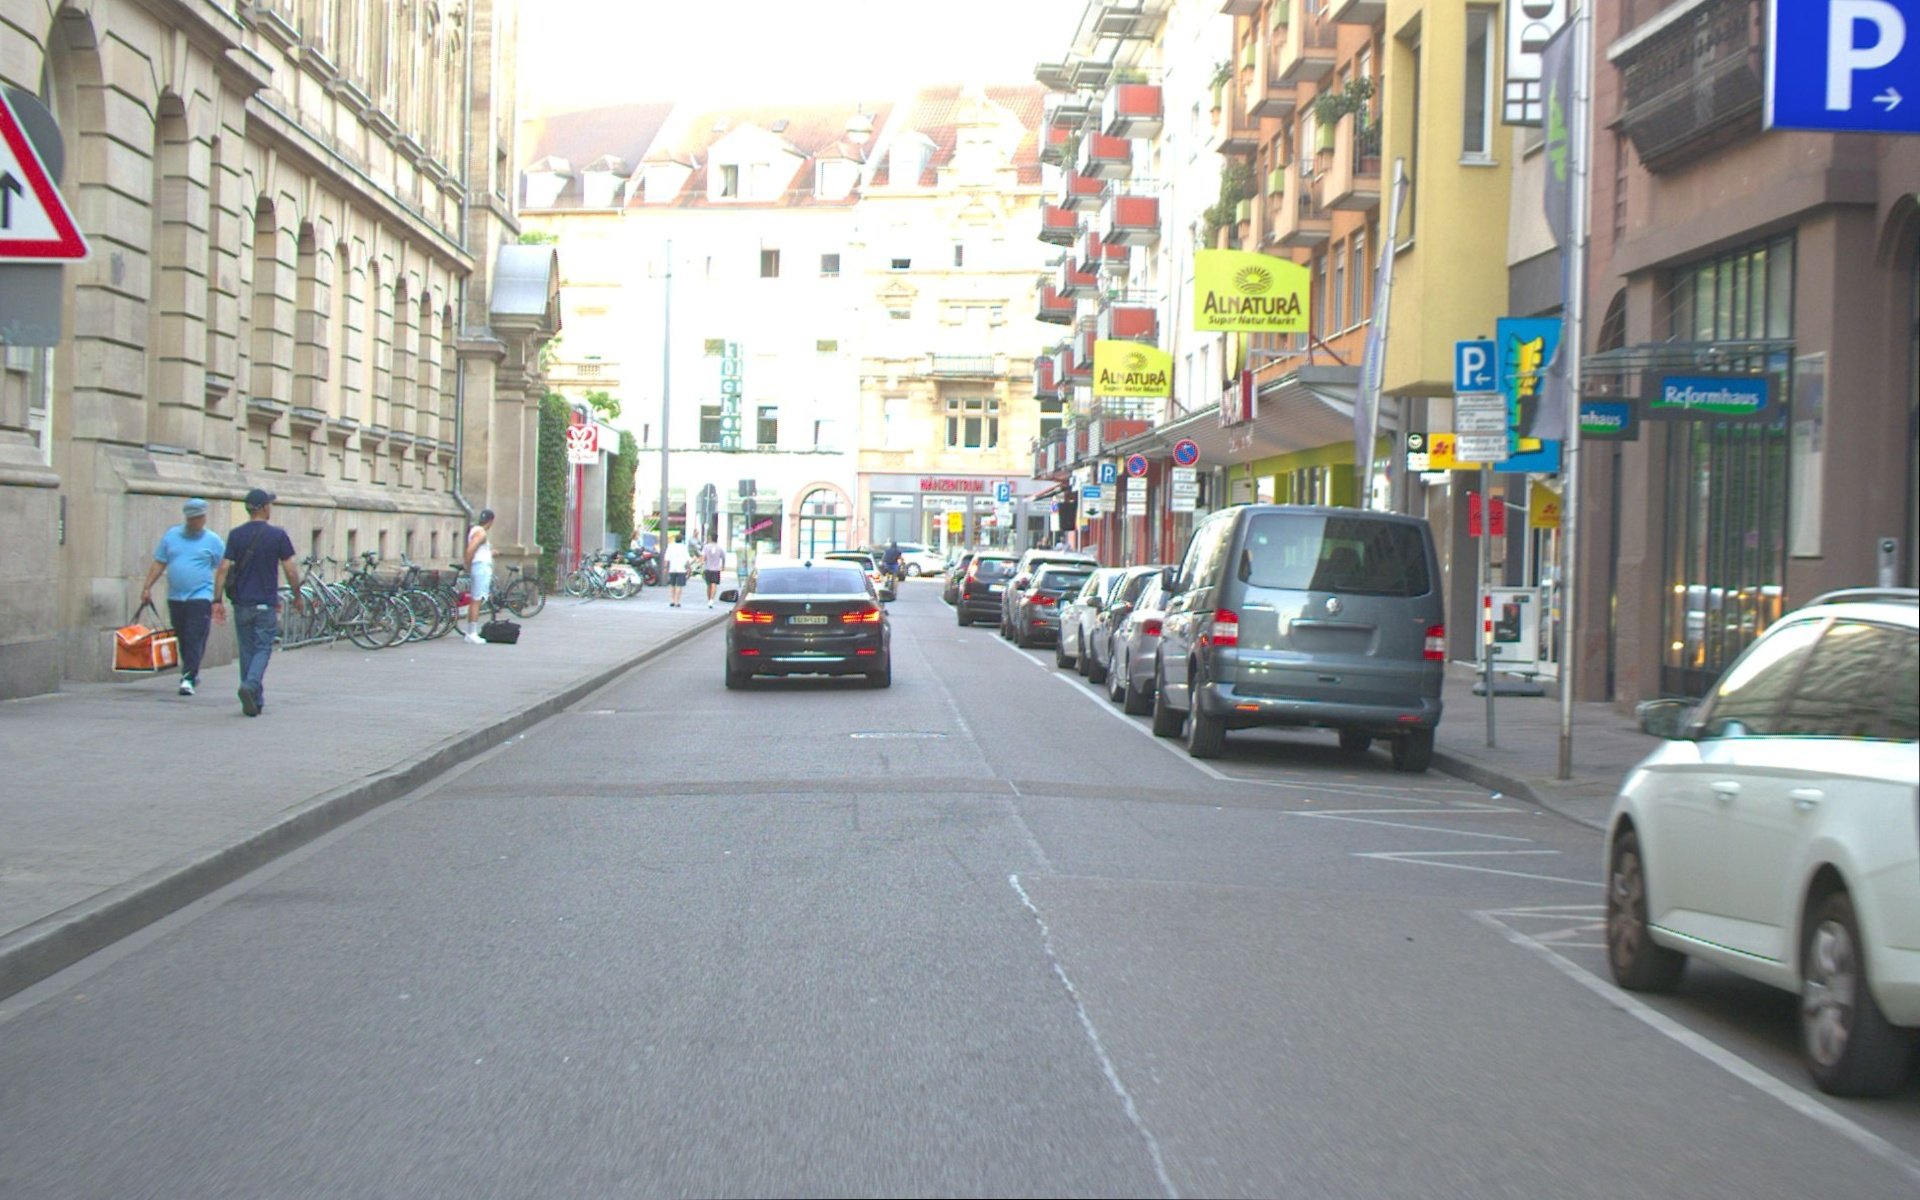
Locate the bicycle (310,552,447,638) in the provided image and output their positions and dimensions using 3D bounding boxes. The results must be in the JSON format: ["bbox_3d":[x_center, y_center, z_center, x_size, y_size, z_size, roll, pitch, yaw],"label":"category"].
[{"bbox_3d":[-8.009,-0.071,47.379,1.794,1.104,0.500,3,0,-7],"label":"bicycle"}]

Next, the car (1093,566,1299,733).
[{"bbox_3d":[2.353,0.452,35.281,1.687,1.448,4.498,4,1,0],"label":"car"}]

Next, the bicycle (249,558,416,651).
[{"bbox_3d":[-7.789,0.058,42.715,1.937,1.058,0.620,3,0,-2],"label":"bicycle"}]

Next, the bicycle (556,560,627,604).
[{"bbox_3d":[-9.704,-0.487,90.497,1.794,1.104,0.500,2,1,-1],"label":"bicycle"}]

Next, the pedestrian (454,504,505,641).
[{"bbox_3d":[-6.636,-0.386,47.470,0.588,1.845,0.754,3,1,-7],"label":"pedestrian"}]

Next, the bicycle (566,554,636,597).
[{"bbox_3d":[-9.721,-0.673,93.017,1.794,1.104,0.500,2,1,2],"label":"bicycle"}]

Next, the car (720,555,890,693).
[{"bbox_3d":[-1.697,0.223,38.918,1.765,1.370,4.791,2,1,-1],"label":"car"}]

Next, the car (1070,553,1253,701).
[{"bbox_3d":[2.310,0.272,40.393,1.618,1.511,4.174,4,1,-3],"label":"car"}]

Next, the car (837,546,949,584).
[{"bbox_3d":[-2.826,-1.482,146.014,4.356,1.557,1.866,1,0,21],"label":"car"}]

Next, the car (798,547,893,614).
[{"bbox_3d":[-2.620,-0.468,79.449,1.877,1.468,4.000,1,1,2],"label":"car"}]

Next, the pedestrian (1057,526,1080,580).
[{"bbox_3d":[3.398,-1.471,107.591,0.648,1.655,0.794,-2,1,0],"label":"pedestrian"}]

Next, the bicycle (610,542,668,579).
[{"bbox_3d":[-10.319,-1.281,110.564,1.794,1.104,0.500,3,1,-6],"label":"bicycle"}]

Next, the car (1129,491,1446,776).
[{"bbox_3d":[2.569,0.234,28.189,1.846,2.051,5.054,2,0,-2],"label":"car"}]

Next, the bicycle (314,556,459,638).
[{"bbox_3d":[-8.027,-0.044,48.193,1.937,1.058,0.620,3,0,-7],"label":"bicycle"}]

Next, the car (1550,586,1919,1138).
[{"bbox_3d":[3.242,0.718,11.271,1.656,1.443,4.308,2,0,-2],"label":"car"}]

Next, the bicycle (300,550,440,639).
[{"bbox_3d":[-7.919,-0.072,46.180,1.794,1.104,0.500,3,0,-7],"label":"bicycle"}]

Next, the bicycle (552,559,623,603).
[{"bbox_3d":[-9.843,-0.493,90.840,1.794,1.104,0.500,2,1,-2],"label":"bicycle"}]

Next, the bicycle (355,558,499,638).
[{"bbox_3d":[-7.628,-0.027,49.245,1.937,1.058,0.620,3,0,-3],"label":"bicycle"}]

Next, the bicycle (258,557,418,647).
[{"bbox_3d":[-7.945,0.028,43.960,1.937,1.058,0.620,3,0,-7],"label":"bicycle"}]

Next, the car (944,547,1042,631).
[{"bbox_3d":[0.734,-0.253,72.606,1.794,1.604,4.486,4,1,3],"label":"car"}]

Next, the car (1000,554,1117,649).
[{"bbox_3d":[1.630,-0.009,58.407,1.691,1.410,4.757,4,1,-1],"label":"car"}]

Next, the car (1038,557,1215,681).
[{"bbox_3d":[2.150,0.214,45.563,1.691,1.406,4.640,3,1,-4],"label":"car"}]

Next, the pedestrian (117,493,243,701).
[{"bbox_3d":[-6.780,-0.032,29.914,0.828,1.740,0.769,4,1,-1],"label":"pedestrian"}]

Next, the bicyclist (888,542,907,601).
[{"bbox_3d":[-1.876,-0.868,103.345,0.523,1.750,0.620,2,1,0],"label":"bicyclist"}]

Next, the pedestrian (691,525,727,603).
[{"bbox_3d":[-6.209,-0.898,85.087,0.744,1.887,1.050,3,1,-1],"label":"pedestrian"}]

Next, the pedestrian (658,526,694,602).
[{"bbox_3d":[-7.013,-0.890,84.848,0.741,1.806,1.009,3,1,-2],"label":"pedestrian"}]

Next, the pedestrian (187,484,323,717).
[{"bbox_3d":[-5.488,0.002,26.803,0.809,1.744,0.969,3,0,-2],"label":"pedestrian"}]

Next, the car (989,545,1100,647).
[{"bbox_3d":[1.515,-0.109,63.374,1.752,1.662,4.757,4,1,-1],"label":"car"}]

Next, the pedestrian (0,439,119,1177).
[{"bbox_3d":[-2.650,0.499,8.527,0.818,1.782,0.778,-1,1,-43],"label":"pedestrian"}]

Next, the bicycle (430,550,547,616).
[{"bbox_3d":[-8.516,-0.307,62.092,1.936,1.058,0.620,4,0,-16],"label":"bicycle"}]

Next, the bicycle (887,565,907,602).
[{"bbox_3d":[-1.890,-0.499,103.371,0.536,1.104,1.800,2,1,0],"label":"bicycle"}]
